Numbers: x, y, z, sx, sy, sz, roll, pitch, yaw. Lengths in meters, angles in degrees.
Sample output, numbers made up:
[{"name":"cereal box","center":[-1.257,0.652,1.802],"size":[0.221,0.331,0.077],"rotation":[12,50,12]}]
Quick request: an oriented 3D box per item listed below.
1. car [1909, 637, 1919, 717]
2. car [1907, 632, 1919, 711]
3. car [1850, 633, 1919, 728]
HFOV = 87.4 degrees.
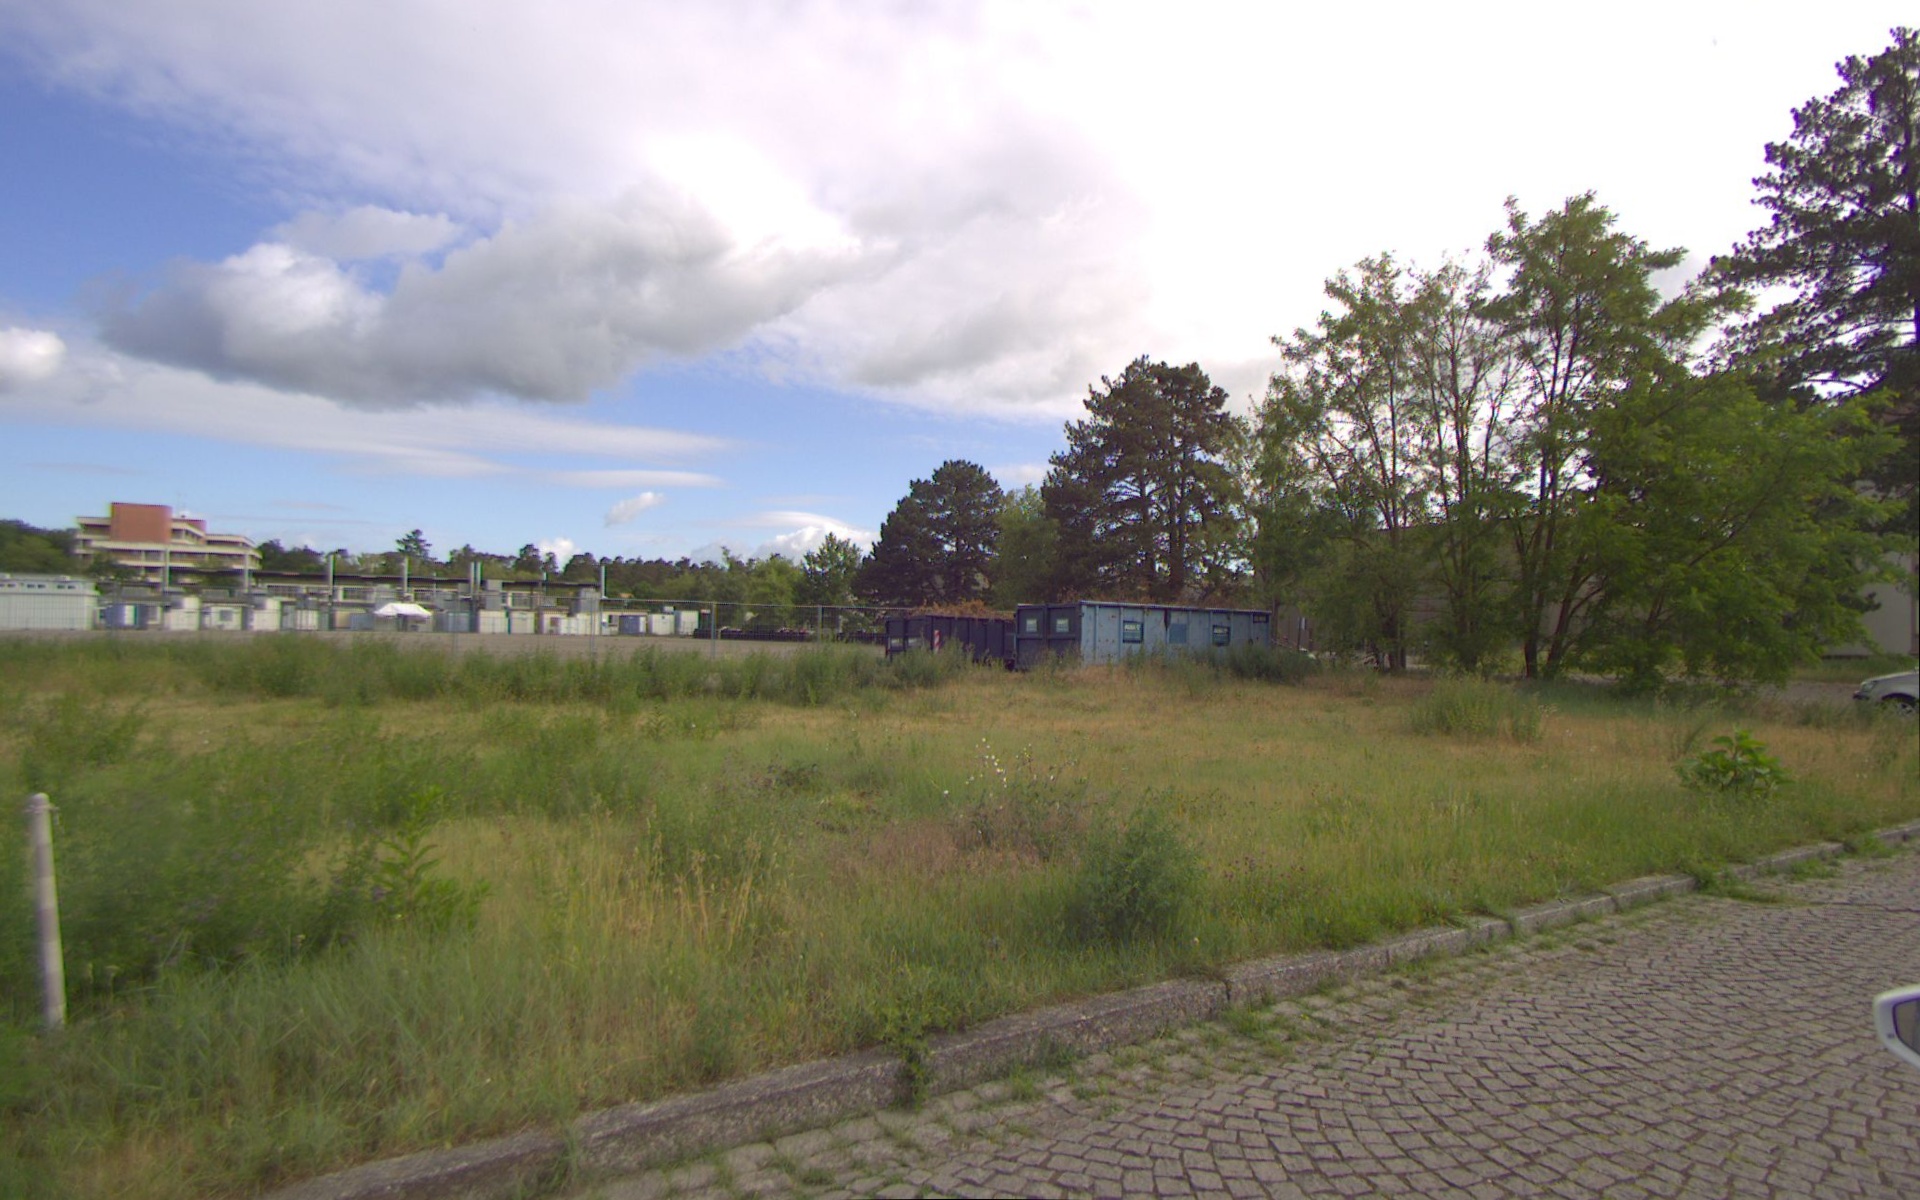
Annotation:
[{"name":"car","center":[19.137,1.490,17.325],"size":[1.566,1.448,3.723],"rotation":[2,1,-33]},{"name":"car","center":[21.144,1.540,19.342],"size":[1.633,1.584,3.924],"rotation":[2,1,-33]},{"name":"car","center":[16.900,1.396,16.067],"size":[1.566,1.499,3.680],"rotation":[2,1,-33]}]
